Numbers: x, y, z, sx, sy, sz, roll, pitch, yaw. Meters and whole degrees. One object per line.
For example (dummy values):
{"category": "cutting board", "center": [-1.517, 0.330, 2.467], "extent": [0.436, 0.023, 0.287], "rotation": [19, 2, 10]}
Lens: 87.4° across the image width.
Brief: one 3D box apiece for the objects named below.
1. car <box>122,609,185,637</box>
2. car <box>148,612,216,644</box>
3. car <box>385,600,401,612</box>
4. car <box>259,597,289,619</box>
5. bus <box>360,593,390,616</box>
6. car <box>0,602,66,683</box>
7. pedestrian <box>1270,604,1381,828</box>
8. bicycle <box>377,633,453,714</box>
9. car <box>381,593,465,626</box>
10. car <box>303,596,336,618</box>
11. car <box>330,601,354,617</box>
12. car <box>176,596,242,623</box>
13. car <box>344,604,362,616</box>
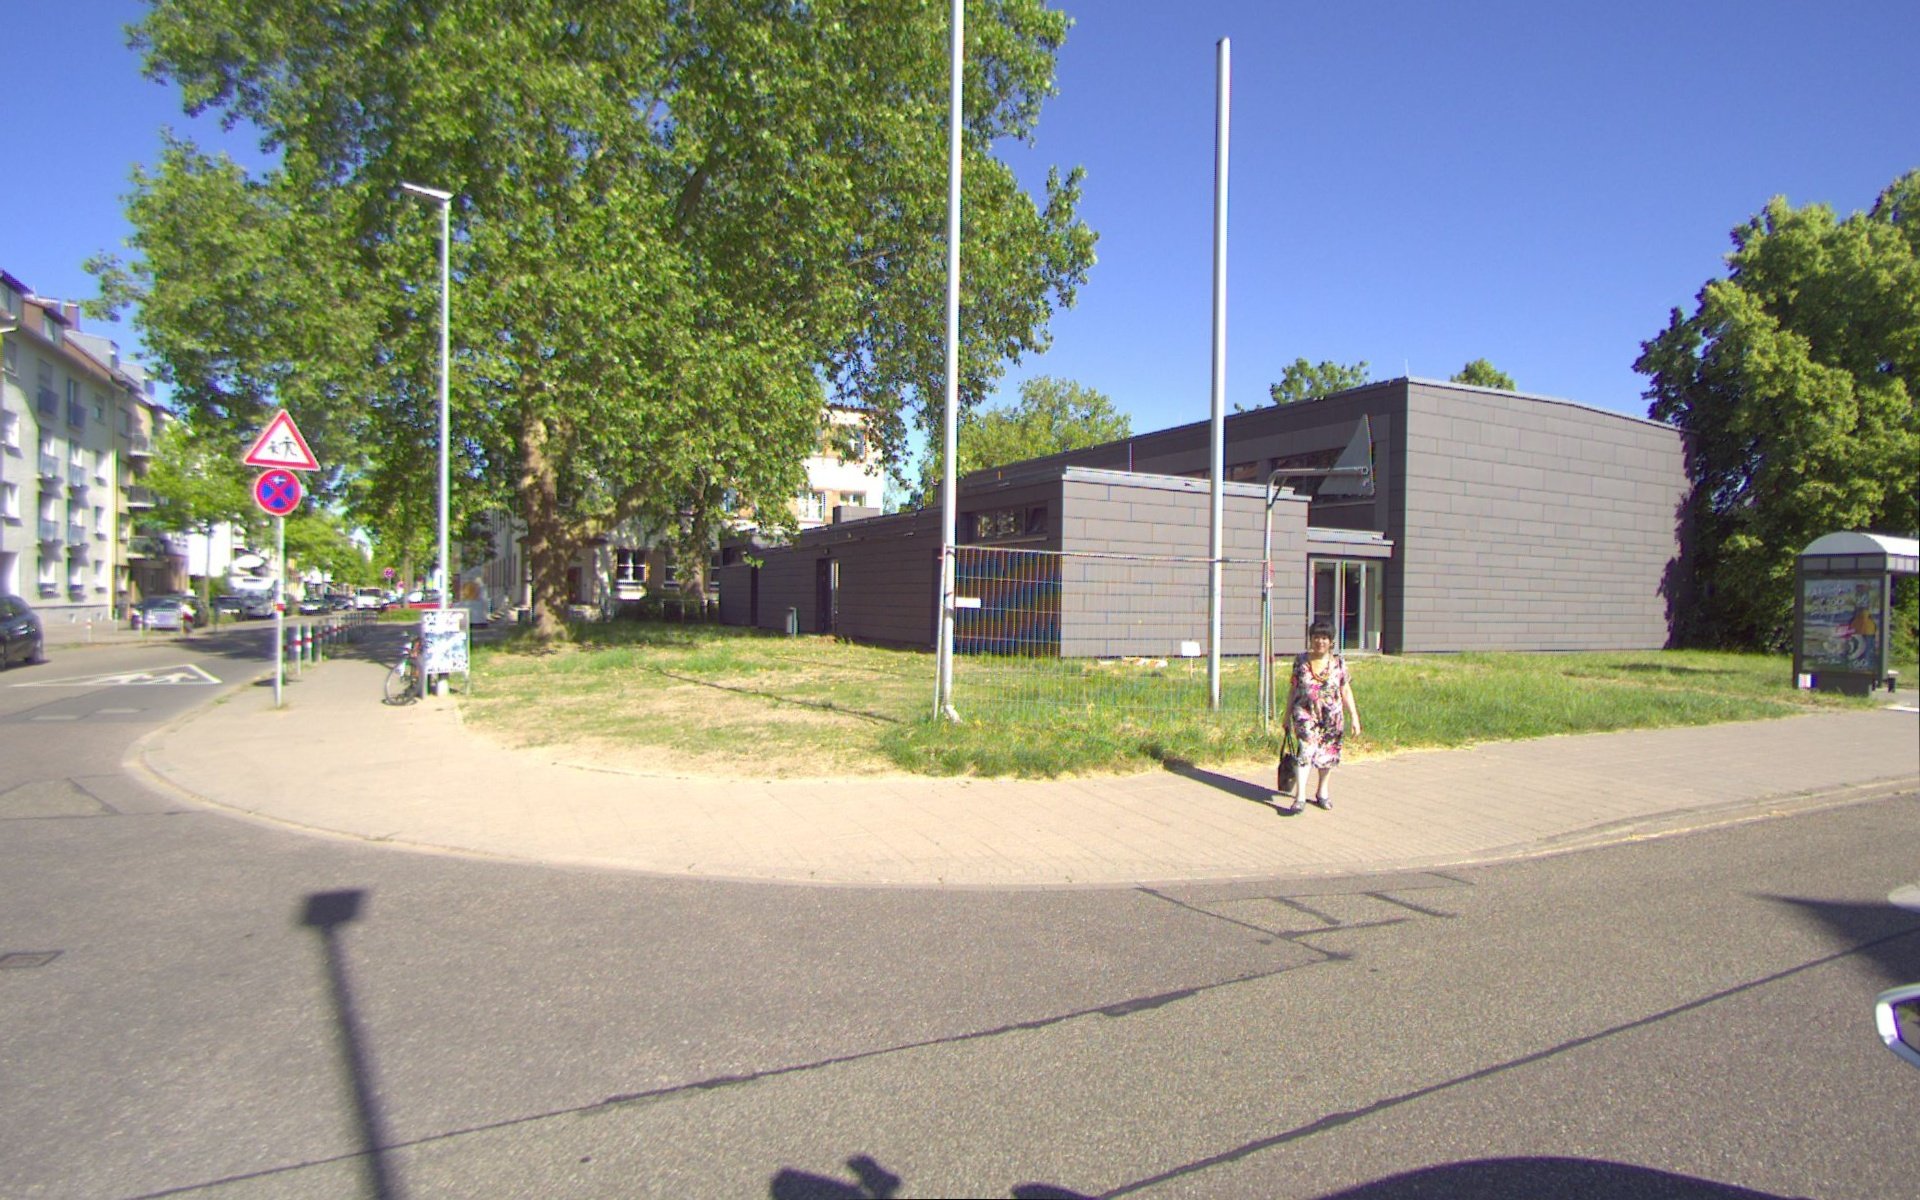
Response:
{"category": "car", "center": [-36.148, 1.033, 45.126], "extent": [1.520, 1.209, 3.971], "rotation": [1, -1, -29]}
{"category": "car", "center": [-30.990, 1.093, 40.089], "extent": [1.520, 1.209, 3.971], "rotation": [1, -1, -29]}
{"category": "car", "center": [-85.771, 0.853, 151.967], "extent": [1.974, 1.773, 3.972], "rotation": [0, 0, -27]}
{"category": "car", "center": [-55.631, 0.641, 81.470], "extent": [1.980, 1.694, 3.961], "rotation": [1, 0, -35]}
{"category": "bus", "center": [-72.019, 0.516, 123.758], "extent": [2.764, 2.543, 10.118], "rotation": [1, 1, -28]}
{"category": "car", "center": [-20.270, 0.850, 20.542], "extent": [2.091, 1.477, 4.076], "rotation": [-2, 2, -30]}
{"category": "pedestrian", "center": [2.884, 0.876, 8.002], "extent": [0.619, 1.608, 0.836], "rotation": [4, 4, 12]}
{"category": "bicycle", "center": [-7.671, 1.001, 14.189], "extent": [0.491, 0.998, 1.597], "rotation": [-1, 1, -12]}
{"category": "car", "center": [-34.111, 0.599, 63.915], "extent": [4.621, 2.040, 1.986], "rotation": [1, 0, -28]}
{"category": "car", "center": [-54.164, 0.592, 84.980], "extent": [1.974, 1.773, 3.972], "rotation": [0, 0, -27]}
{"category": "car", "center": [-72.334, 1.062, 117.576], "extent": [1.974, 1.773, 3.972], "rotation": [0, 0, -27]}
{"category": "car", "center": [-59.124, 0.717, 79.097], "extent": [3.919, 2.040, 2.001], "rotation": [1, 0, 10]}
{"category": "car", "center": [-94.015, 1.536, 155.657], "extent": [1.973, 1.773, 3.975], "rotation": [1, 0, -25]}
